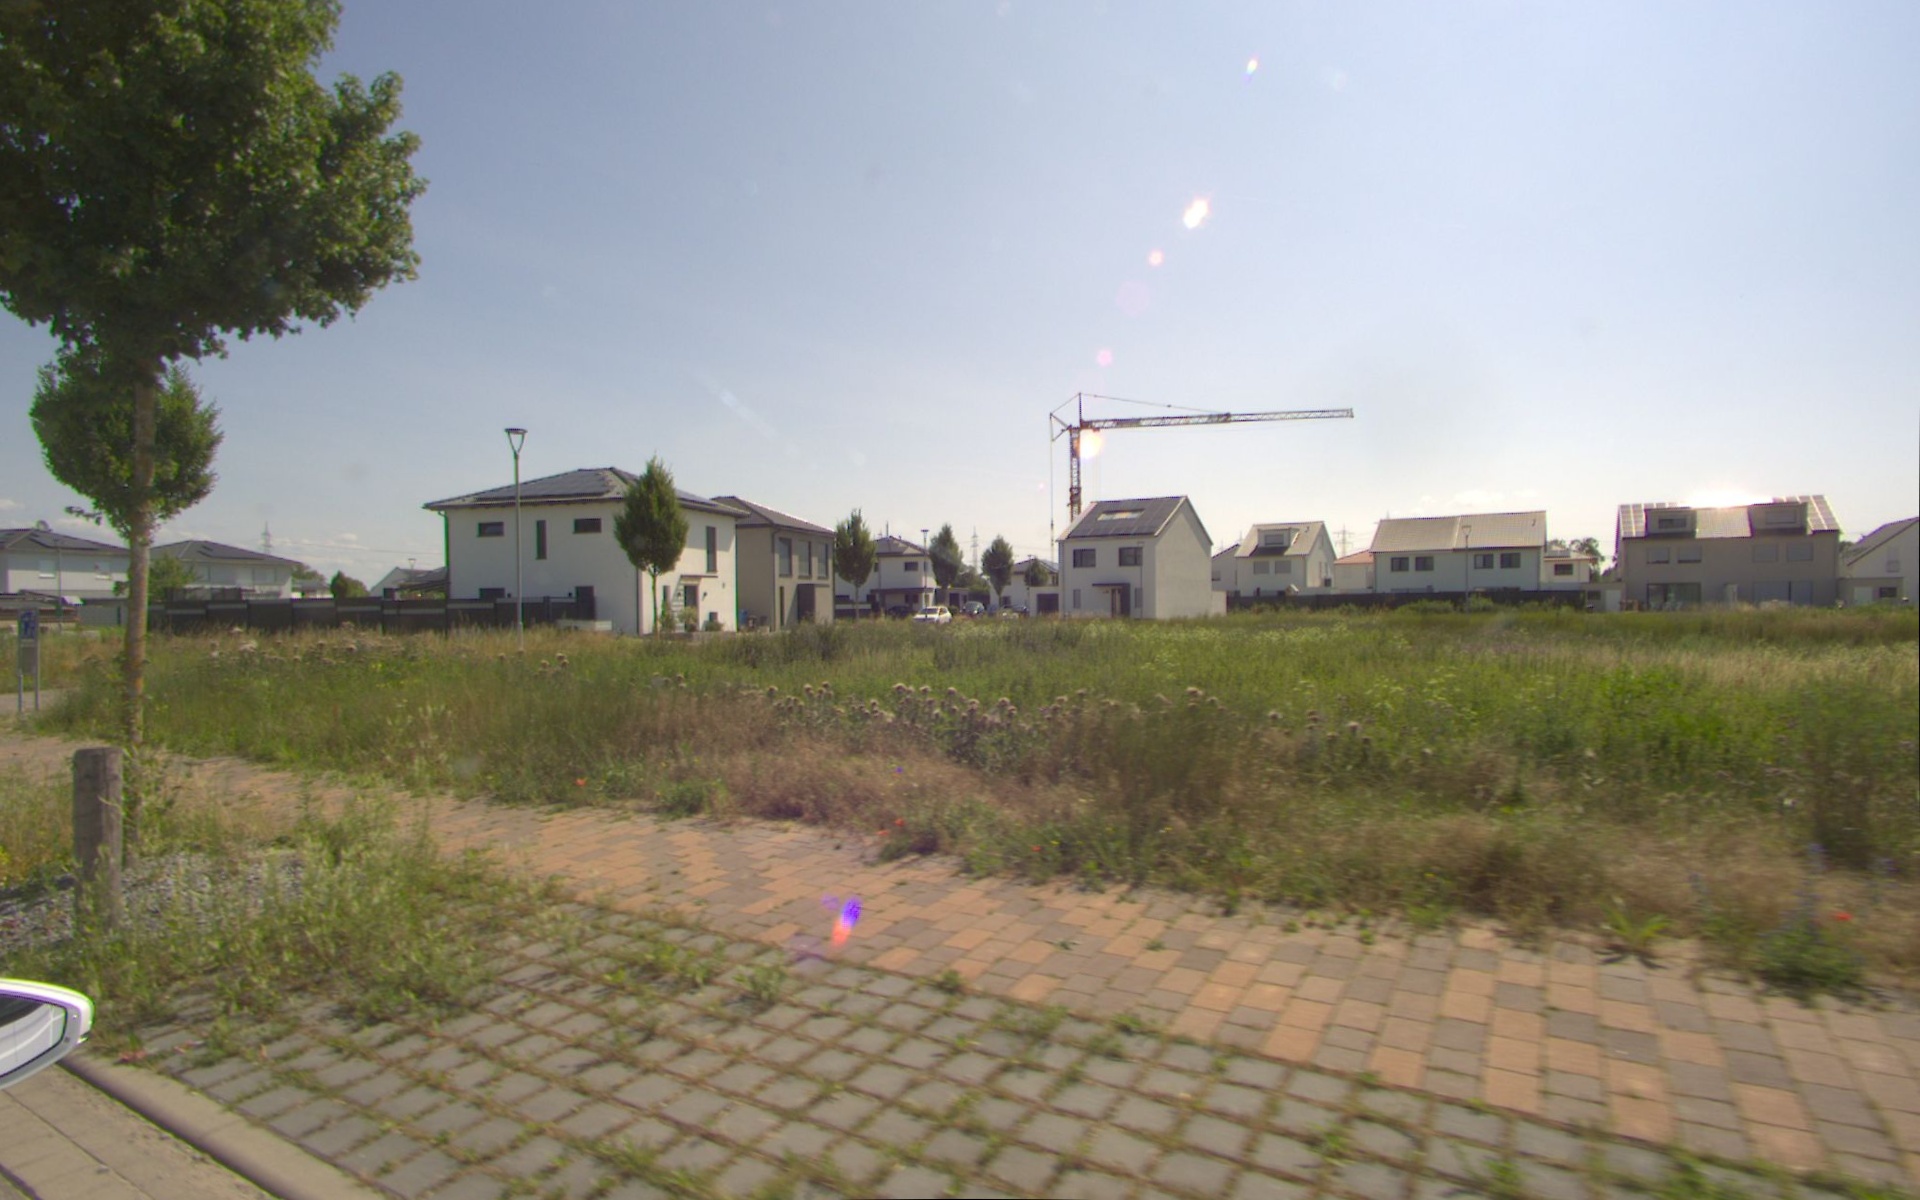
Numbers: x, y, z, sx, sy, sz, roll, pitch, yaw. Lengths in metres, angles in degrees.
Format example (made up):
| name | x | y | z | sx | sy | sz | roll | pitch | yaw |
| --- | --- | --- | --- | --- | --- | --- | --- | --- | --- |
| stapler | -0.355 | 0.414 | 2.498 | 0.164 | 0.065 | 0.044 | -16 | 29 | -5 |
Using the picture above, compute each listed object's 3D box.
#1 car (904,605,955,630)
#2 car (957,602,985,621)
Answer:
| name | x | y | z | sx | sy | sz | roll | pitch | yaw |
| --- | --- | --- | --- | --- | --- | --- | --- | --- | --- |
| car | -1.774 | 1.035 | 59.070 | 1.719 | 1.416 | 3.993 | -1 | -1 | 18 |
| car | 1.059 | 1.105 | 96.686 | 1.794 | 1.776 | 4.237 | 0 | 0 | 14 |
